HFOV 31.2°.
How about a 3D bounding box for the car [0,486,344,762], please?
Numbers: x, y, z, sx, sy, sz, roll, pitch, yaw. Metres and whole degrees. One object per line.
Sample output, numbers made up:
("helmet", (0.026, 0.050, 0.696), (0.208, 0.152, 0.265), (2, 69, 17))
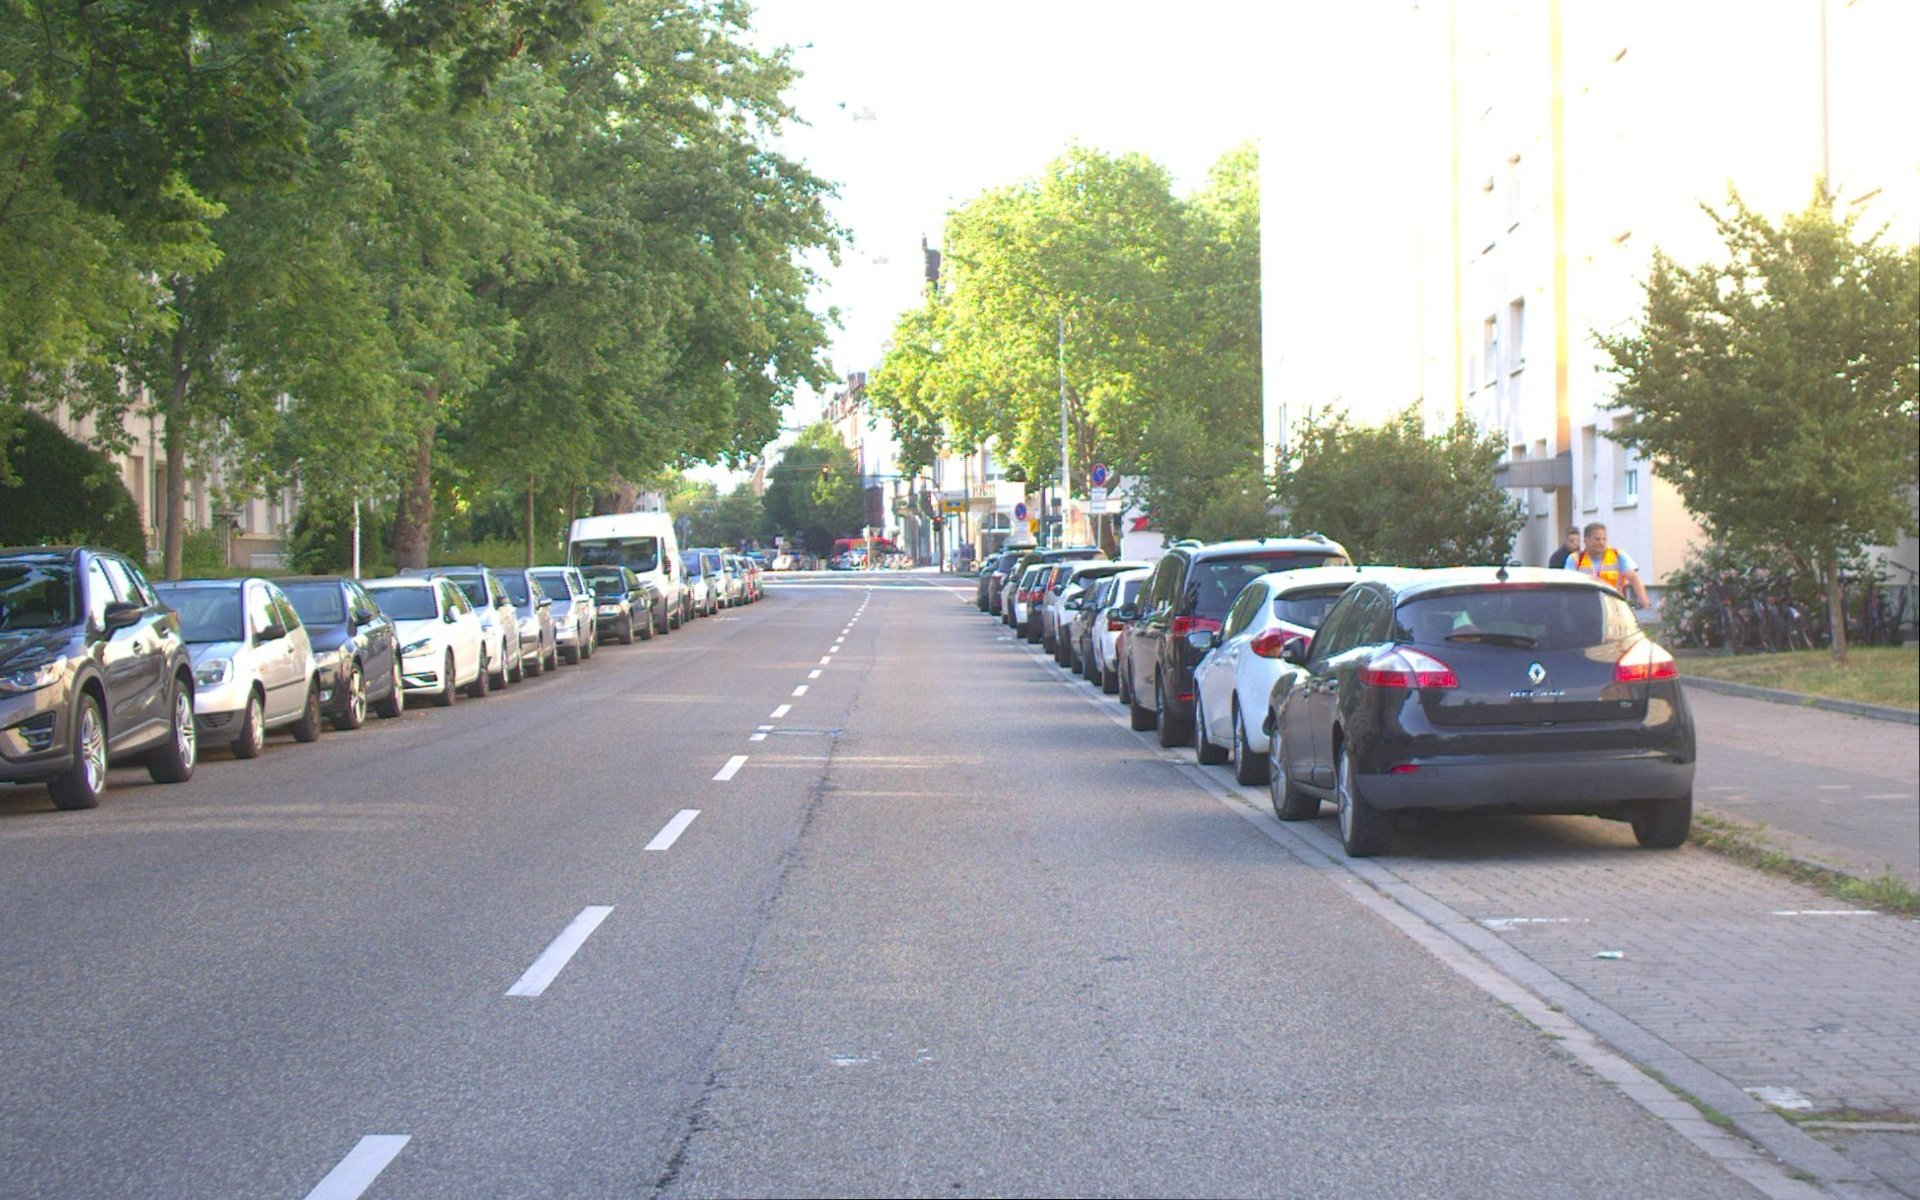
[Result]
("car", (-6.369, 0.187, 27.889), (1.993, 2.007, 4.000), (-2, 0, -1))

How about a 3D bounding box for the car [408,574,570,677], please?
("car", (-6.615, 0.350, 48.678), (1.873, 1.351, 4.000), (2, 0, -2))

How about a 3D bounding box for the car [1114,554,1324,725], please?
("car", (2.607, 0.391, 35.415), (1.771, 1.611, 4.000), (2, 0, -1))

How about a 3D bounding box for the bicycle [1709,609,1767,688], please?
("bicycle", (9.558, 0.590, 42.273), (0.438, 0.938, 1.790), (2, 0, 5))

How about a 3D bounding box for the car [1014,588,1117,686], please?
("car", (1.954, 0.676, 64.302), (1.837, 1.766, 3.978), (1, 0, 1))

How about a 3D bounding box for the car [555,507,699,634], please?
("car", (-6.804, -0.582, 70.855), (2.358, 2.437, 6.165), (2, 0, -1))

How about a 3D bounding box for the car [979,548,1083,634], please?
("car", (1.498, -0.189, 74.146), (2.024, 1.744, 4.767), (2, 0, -1))

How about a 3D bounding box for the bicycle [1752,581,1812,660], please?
("bicycle", (10.092, 0.255, 42.239), (0.438, 0.938, 1.790), (2, 0, 5))

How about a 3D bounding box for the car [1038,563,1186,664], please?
("car", (2.278, 0.200, 52.388), (1.873, 1.438, 4.000), (2, 0, -2))

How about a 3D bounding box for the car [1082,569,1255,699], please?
("car", (2.504, 0.405, 42.134), (1.771, 1.449, 4.000), (-2, 0, -1))

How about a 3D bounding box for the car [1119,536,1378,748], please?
("car", (2.446, 0.344, 30.177), (1.771, 1.672, 4.646), (2, 0, -1))

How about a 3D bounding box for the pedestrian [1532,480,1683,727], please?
("pedestrian", (5.116, 0.030, 27.230), (0.888, 1.884, 1.279), (2, 0, -1))

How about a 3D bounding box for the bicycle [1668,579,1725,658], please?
("bicycle", (9.064, 0.226, 42.344), (0.438, 0.938, 1.790), (2, 0, 5))

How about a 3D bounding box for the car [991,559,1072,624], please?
("car", (1.635, -0.192, 79.961), (1.679, 1.411, 4.724), (2, 0, -1))

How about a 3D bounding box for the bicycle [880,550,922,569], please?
("bicycle", (-4.036, -2.786, 235.972), (2.802, 1.199, 0.510), (2, 0, -7))

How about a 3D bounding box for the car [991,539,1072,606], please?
("car", (1.877, -0.745, 91.549), (1.897, 1.645, 4.343), (-2, 1, -1))

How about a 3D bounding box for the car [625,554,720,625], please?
("car", (-6.693, -0.229, 80.436), (1.870, 1.553, 4.366), (2, 0, -1))

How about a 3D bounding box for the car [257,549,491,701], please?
("car", (-6.505, 0.268, 38.598), (2.004, 1.547, 4.472), (2, 0, -3))

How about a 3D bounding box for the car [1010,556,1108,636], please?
("car", (1.954, -0.075, 68.951), (1.837, 1.496, 4.172), (2, 0, 0))

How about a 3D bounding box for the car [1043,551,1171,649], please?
("car", (2.487, 0.004, 59.083), (1.962, 1.600, 4.279), (0, 0, -1))

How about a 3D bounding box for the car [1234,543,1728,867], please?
("car", (2.758, 0.521, 19.268), (1.798, 1.502, 4.622), (-3, 0, -3))

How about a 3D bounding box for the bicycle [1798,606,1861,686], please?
("bicycle", (10.657, 0.555, 42.175), (0.438, 0.938, 1.790), (2, 0, 5))

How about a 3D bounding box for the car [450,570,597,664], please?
("car", (-6.752, 0.254, 53.579), (1.873, 1.351, 4.654), (2, 0, -3))

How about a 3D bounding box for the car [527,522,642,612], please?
("car", (-6.934, -0.596, 63.739), (1.707, 1.568, 3.819), (2, 0, -1))

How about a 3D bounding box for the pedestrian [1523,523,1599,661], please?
("pedestrian", (7.401, -0.097, 42.340), (0.766, 1.652, 0.536), (-2, 0, -1))

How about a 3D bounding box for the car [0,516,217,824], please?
("car", (-6.138, 0.429, 22.042), (1.873, 1.753, 4.690), (-2, 0, -3))

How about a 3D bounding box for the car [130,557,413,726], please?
("car", (-6.424, 0.367, 32.571), (1.873, 1.429, 4.804), (2, 0, -3))

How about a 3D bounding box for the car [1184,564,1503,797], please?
("car", (2.663, 0.536, 24.701), (1.771, 1.503, 4.000), (-1, 0, -1))

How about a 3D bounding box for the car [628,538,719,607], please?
("car", (-7.208, -0.722, 86.853), (1.871, 1.553, 5.057), (-4, 1, -1))

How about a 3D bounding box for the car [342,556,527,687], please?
("car", (-6.675, 0.265, 44.025), (1.873, 1.547, 4.000), (2, 0, -2))
